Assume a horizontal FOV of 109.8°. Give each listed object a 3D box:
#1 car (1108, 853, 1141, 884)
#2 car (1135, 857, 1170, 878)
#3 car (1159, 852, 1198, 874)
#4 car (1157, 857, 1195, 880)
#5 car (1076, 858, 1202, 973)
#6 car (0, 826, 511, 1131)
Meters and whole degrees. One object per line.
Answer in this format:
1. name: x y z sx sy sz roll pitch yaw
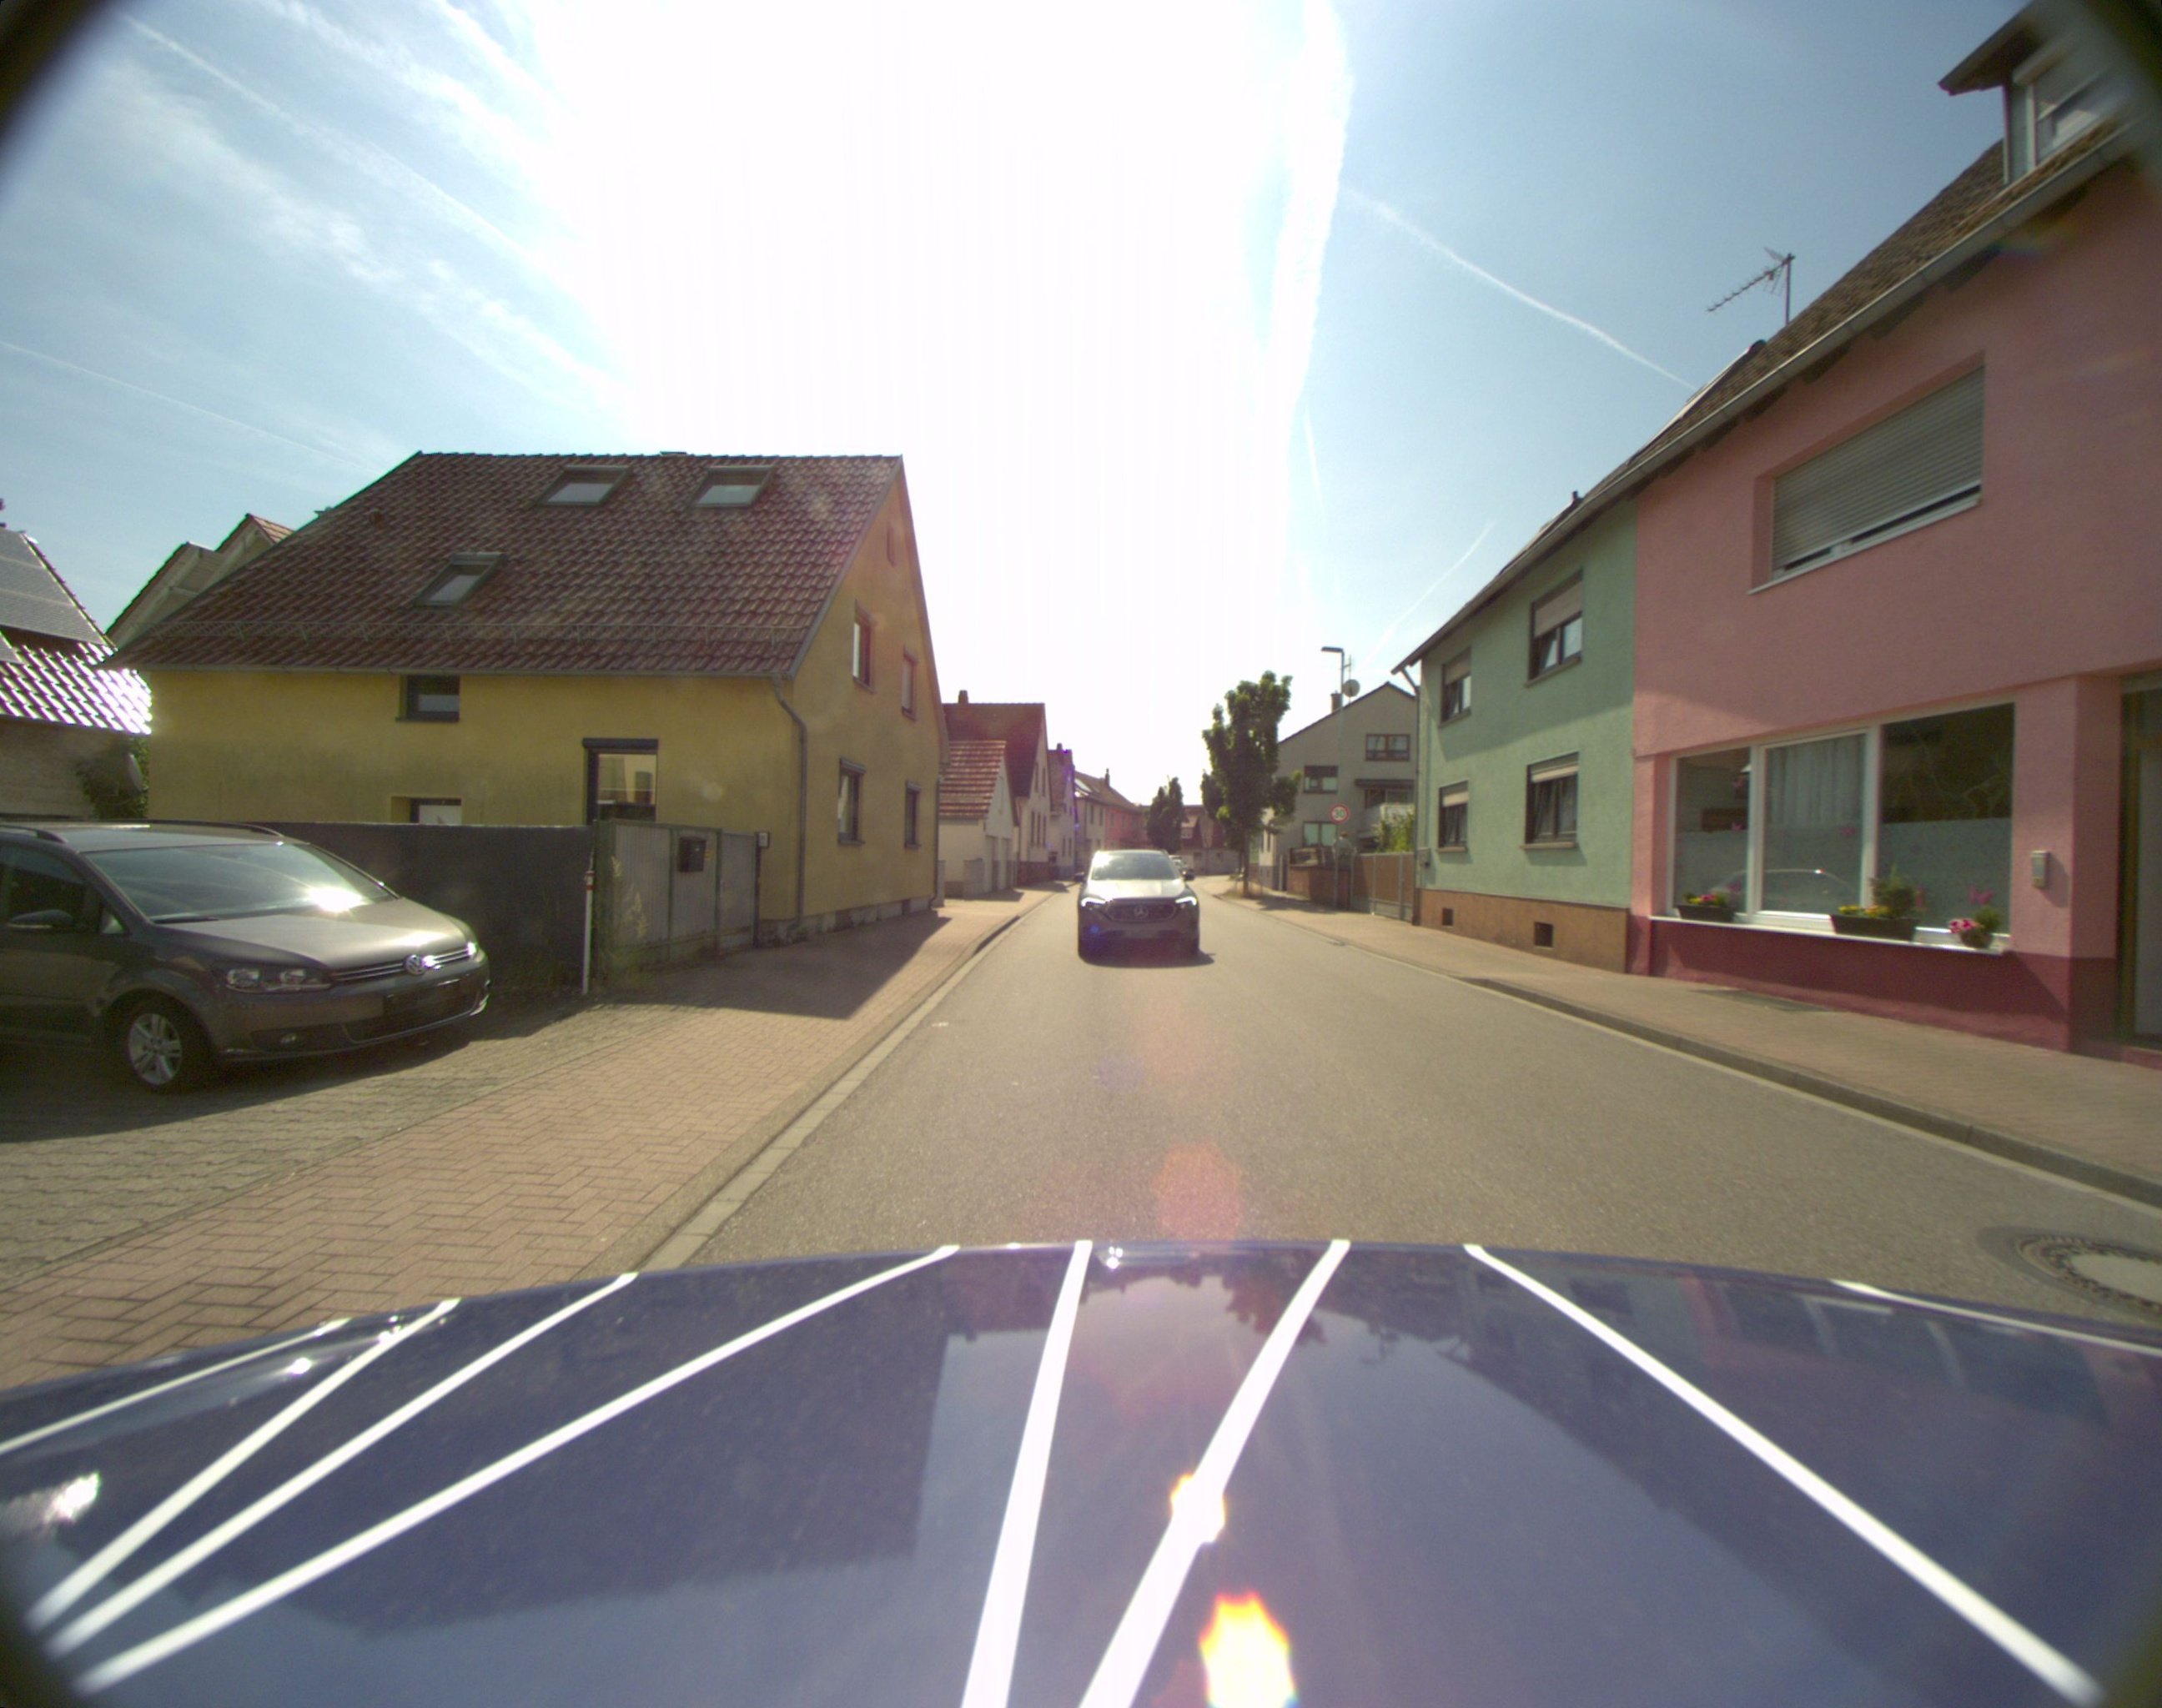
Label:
1. car: 2.656 0.842 45.539 1.791 1.643 4.394 0 2 5
2. car: 6.229 1.183 66.018 1.748 1.617 3.854 -1 1 25
3. car: 9.139 0.847 71.029 1.944 1.841 4.517 -1 1 30
4. car: 7.737 1.163 61.700 1.803 1.617 4.130 -1 1 26
5. car: 0.862 0.872 12.724 1.737 1.564 4.290 0 0 1
6. car: -6.823 0.674 5.456 4.336 1.736 1.738 0 2 7
